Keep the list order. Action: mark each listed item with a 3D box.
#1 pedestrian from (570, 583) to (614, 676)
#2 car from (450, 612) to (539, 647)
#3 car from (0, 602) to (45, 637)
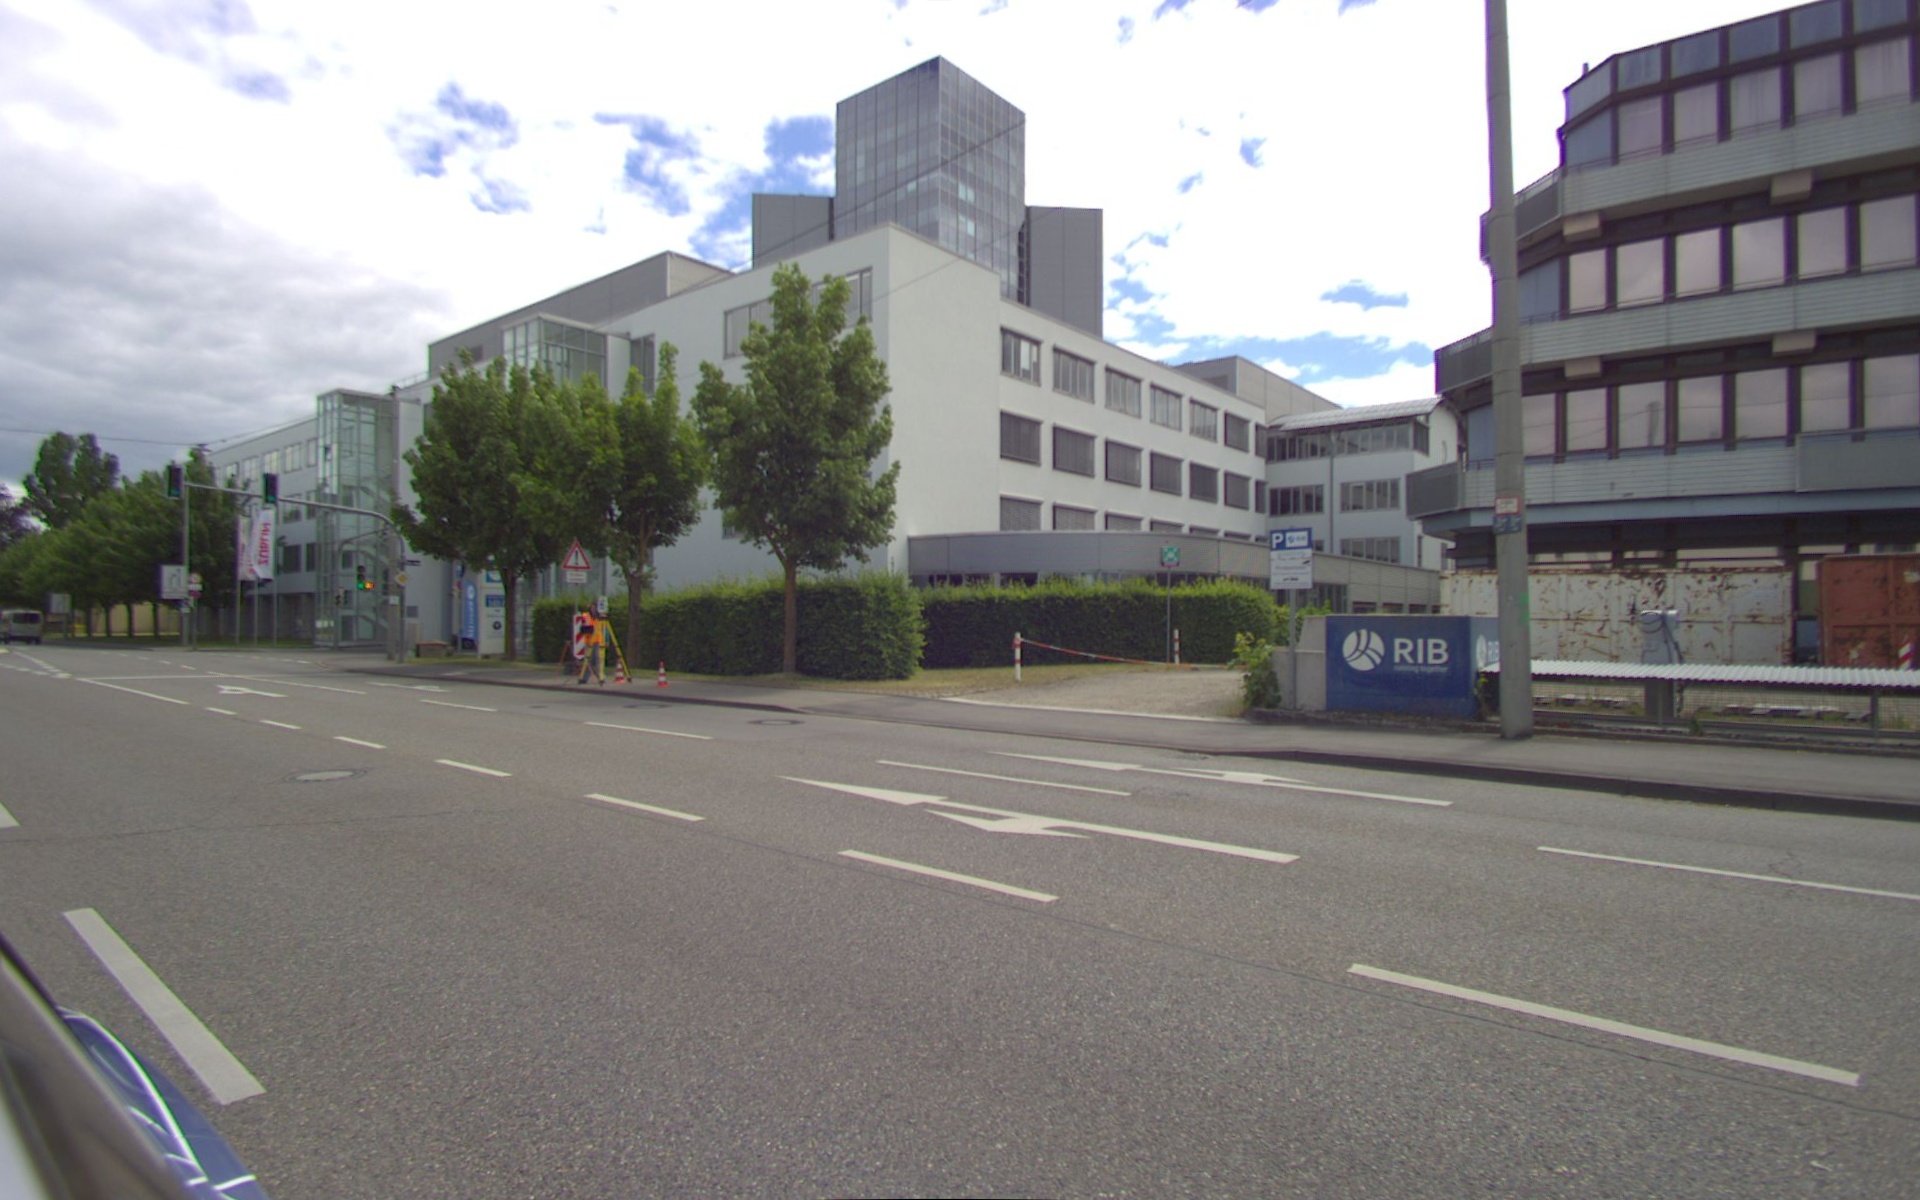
[{"bbox_3d":[-8.223,0.648,22.635,0.715,2.029,0.812,-1,1,-7],"label":"pedestrian"},{"bbox_3d":[-28.205,1.790,61.418,4.751,1.882,2.091,3,-1,-26],"label":"car"},{"bbox_3d":[-69.166,1.440,74.402,6.071,2.490,2.120,-1,-3,42],"label":"car"}]
